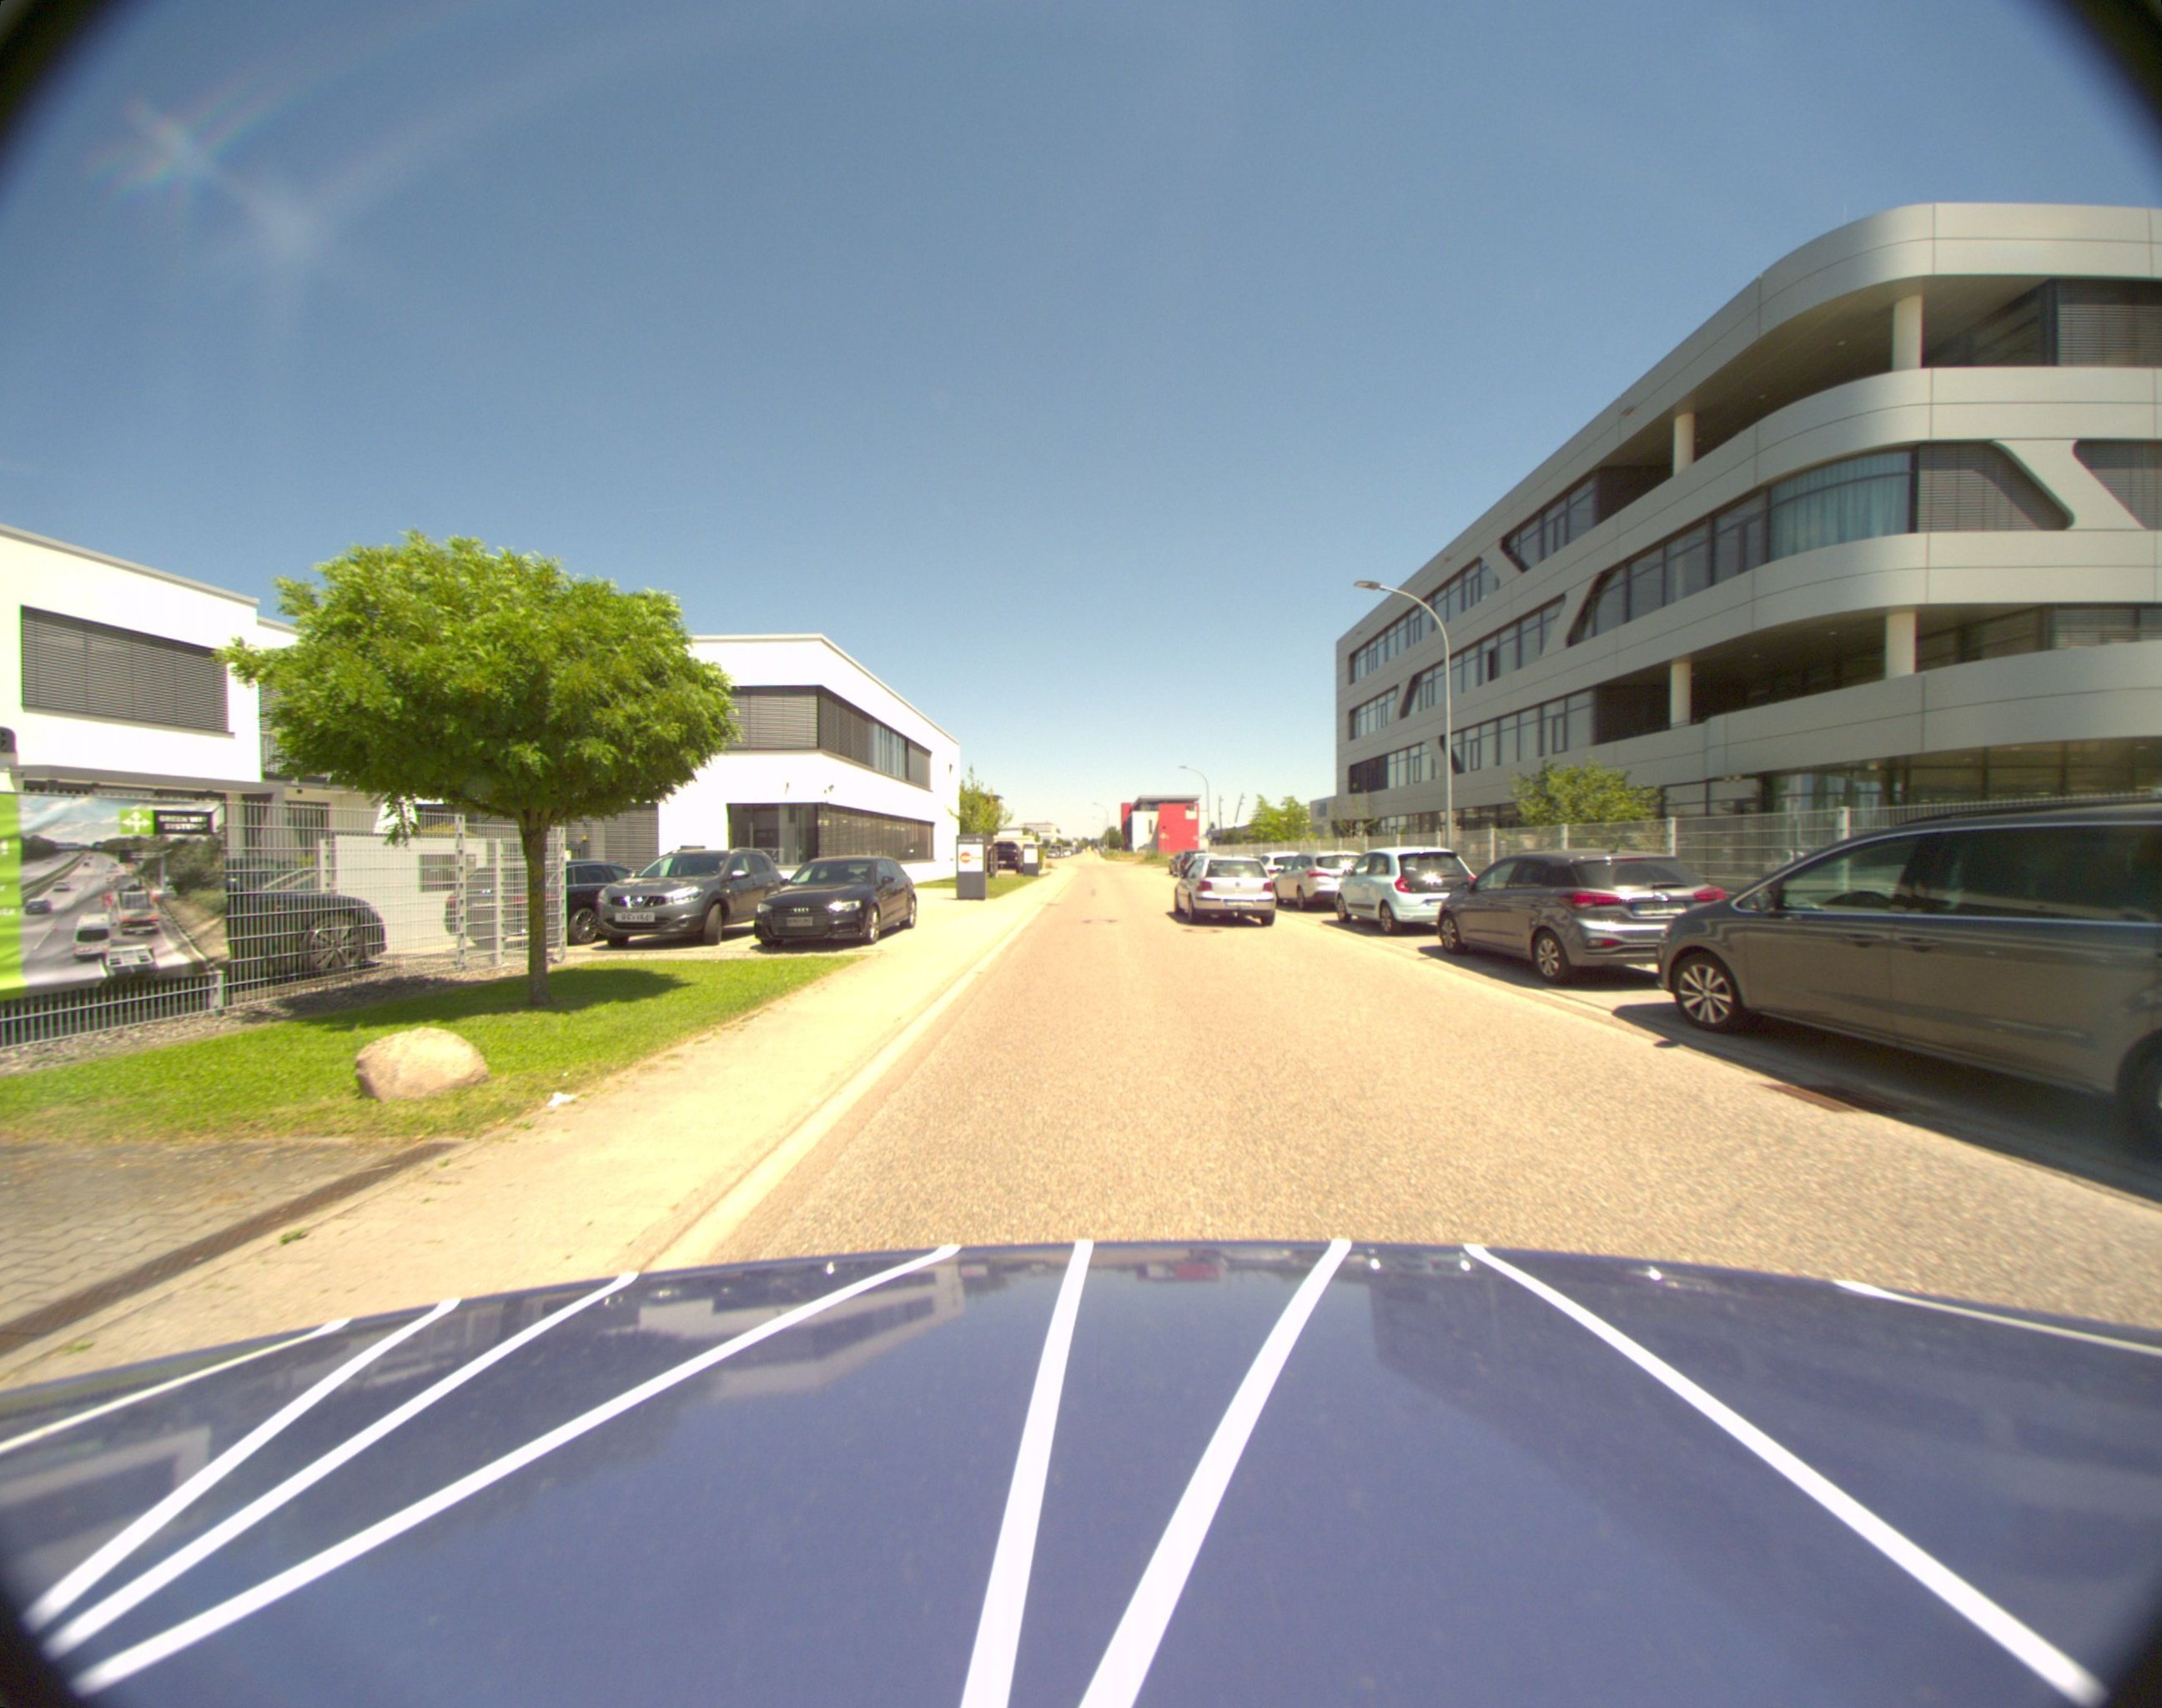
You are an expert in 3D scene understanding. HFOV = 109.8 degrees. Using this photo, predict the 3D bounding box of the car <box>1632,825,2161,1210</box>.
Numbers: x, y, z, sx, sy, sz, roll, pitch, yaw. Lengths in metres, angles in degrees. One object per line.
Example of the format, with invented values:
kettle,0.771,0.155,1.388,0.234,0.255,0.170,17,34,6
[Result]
car,5.758,0.707,4.420,1.807,1.710,4.622,-2,1,1

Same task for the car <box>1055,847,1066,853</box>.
car,-3.926,-0.795,146.508,1.828,1.269,3.886,0,1,2

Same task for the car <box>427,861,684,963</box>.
car,-9.104,0.915,13.652,1.727,1.441,4.022,-1,1,1

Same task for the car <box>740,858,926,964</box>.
car,-4.011,0.840,13.082,1.696,1.419,4.246,-1,1,1

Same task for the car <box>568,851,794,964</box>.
car,-6.718,0.798,13.338,1.727,1.623,4.022,-1,1,1

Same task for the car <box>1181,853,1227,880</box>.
car,6.525,0.628,40.736,1.703,1.378,3.937,-1,0,-1

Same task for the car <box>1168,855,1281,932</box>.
car,3.087,0.776,17.279,1.708,1.403,4.783,2,1,1

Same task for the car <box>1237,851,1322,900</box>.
car,6.618,0.656,25.788,1.707,1.435,4.439,-2,1,0

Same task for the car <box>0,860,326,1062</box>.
car,-8.953,0.851,6.044,1.742,1.390,4.053,0,2,1

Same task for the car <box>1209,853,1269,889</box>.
car,6.538,0.673,31.905,1.688,1.378,4.639,-1,0,2

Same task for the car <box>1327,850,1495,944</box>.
car,6.149,0.707,14.622,1.638,1.527,3.657,-2,1,0

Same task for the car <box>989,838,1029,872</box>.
car,-4.567,0.123,49.003,1.999,2.001,5.801,0,-1,0

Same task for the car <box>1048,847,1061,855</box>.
car,-4.512,-0.495,130.225,1.828,1.269,3.886,0,1,2

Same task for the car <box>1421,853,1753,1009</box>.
car,5.956,0.776,9.591,1.638,1.492,3.971,-2,1,2

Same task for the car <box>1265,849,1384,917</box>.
car,6.291,0.674,20.222,1.707,1.527,4.571,-2,1,0

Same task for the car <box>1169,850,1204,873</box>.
car,7.189,0.508,52.122,1.774,1.458,4.185,-1,0,-1

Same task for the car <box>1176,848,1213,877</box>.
car,6.906,0.484,46.793,1.774,1.641,4.851,-1,0,3
